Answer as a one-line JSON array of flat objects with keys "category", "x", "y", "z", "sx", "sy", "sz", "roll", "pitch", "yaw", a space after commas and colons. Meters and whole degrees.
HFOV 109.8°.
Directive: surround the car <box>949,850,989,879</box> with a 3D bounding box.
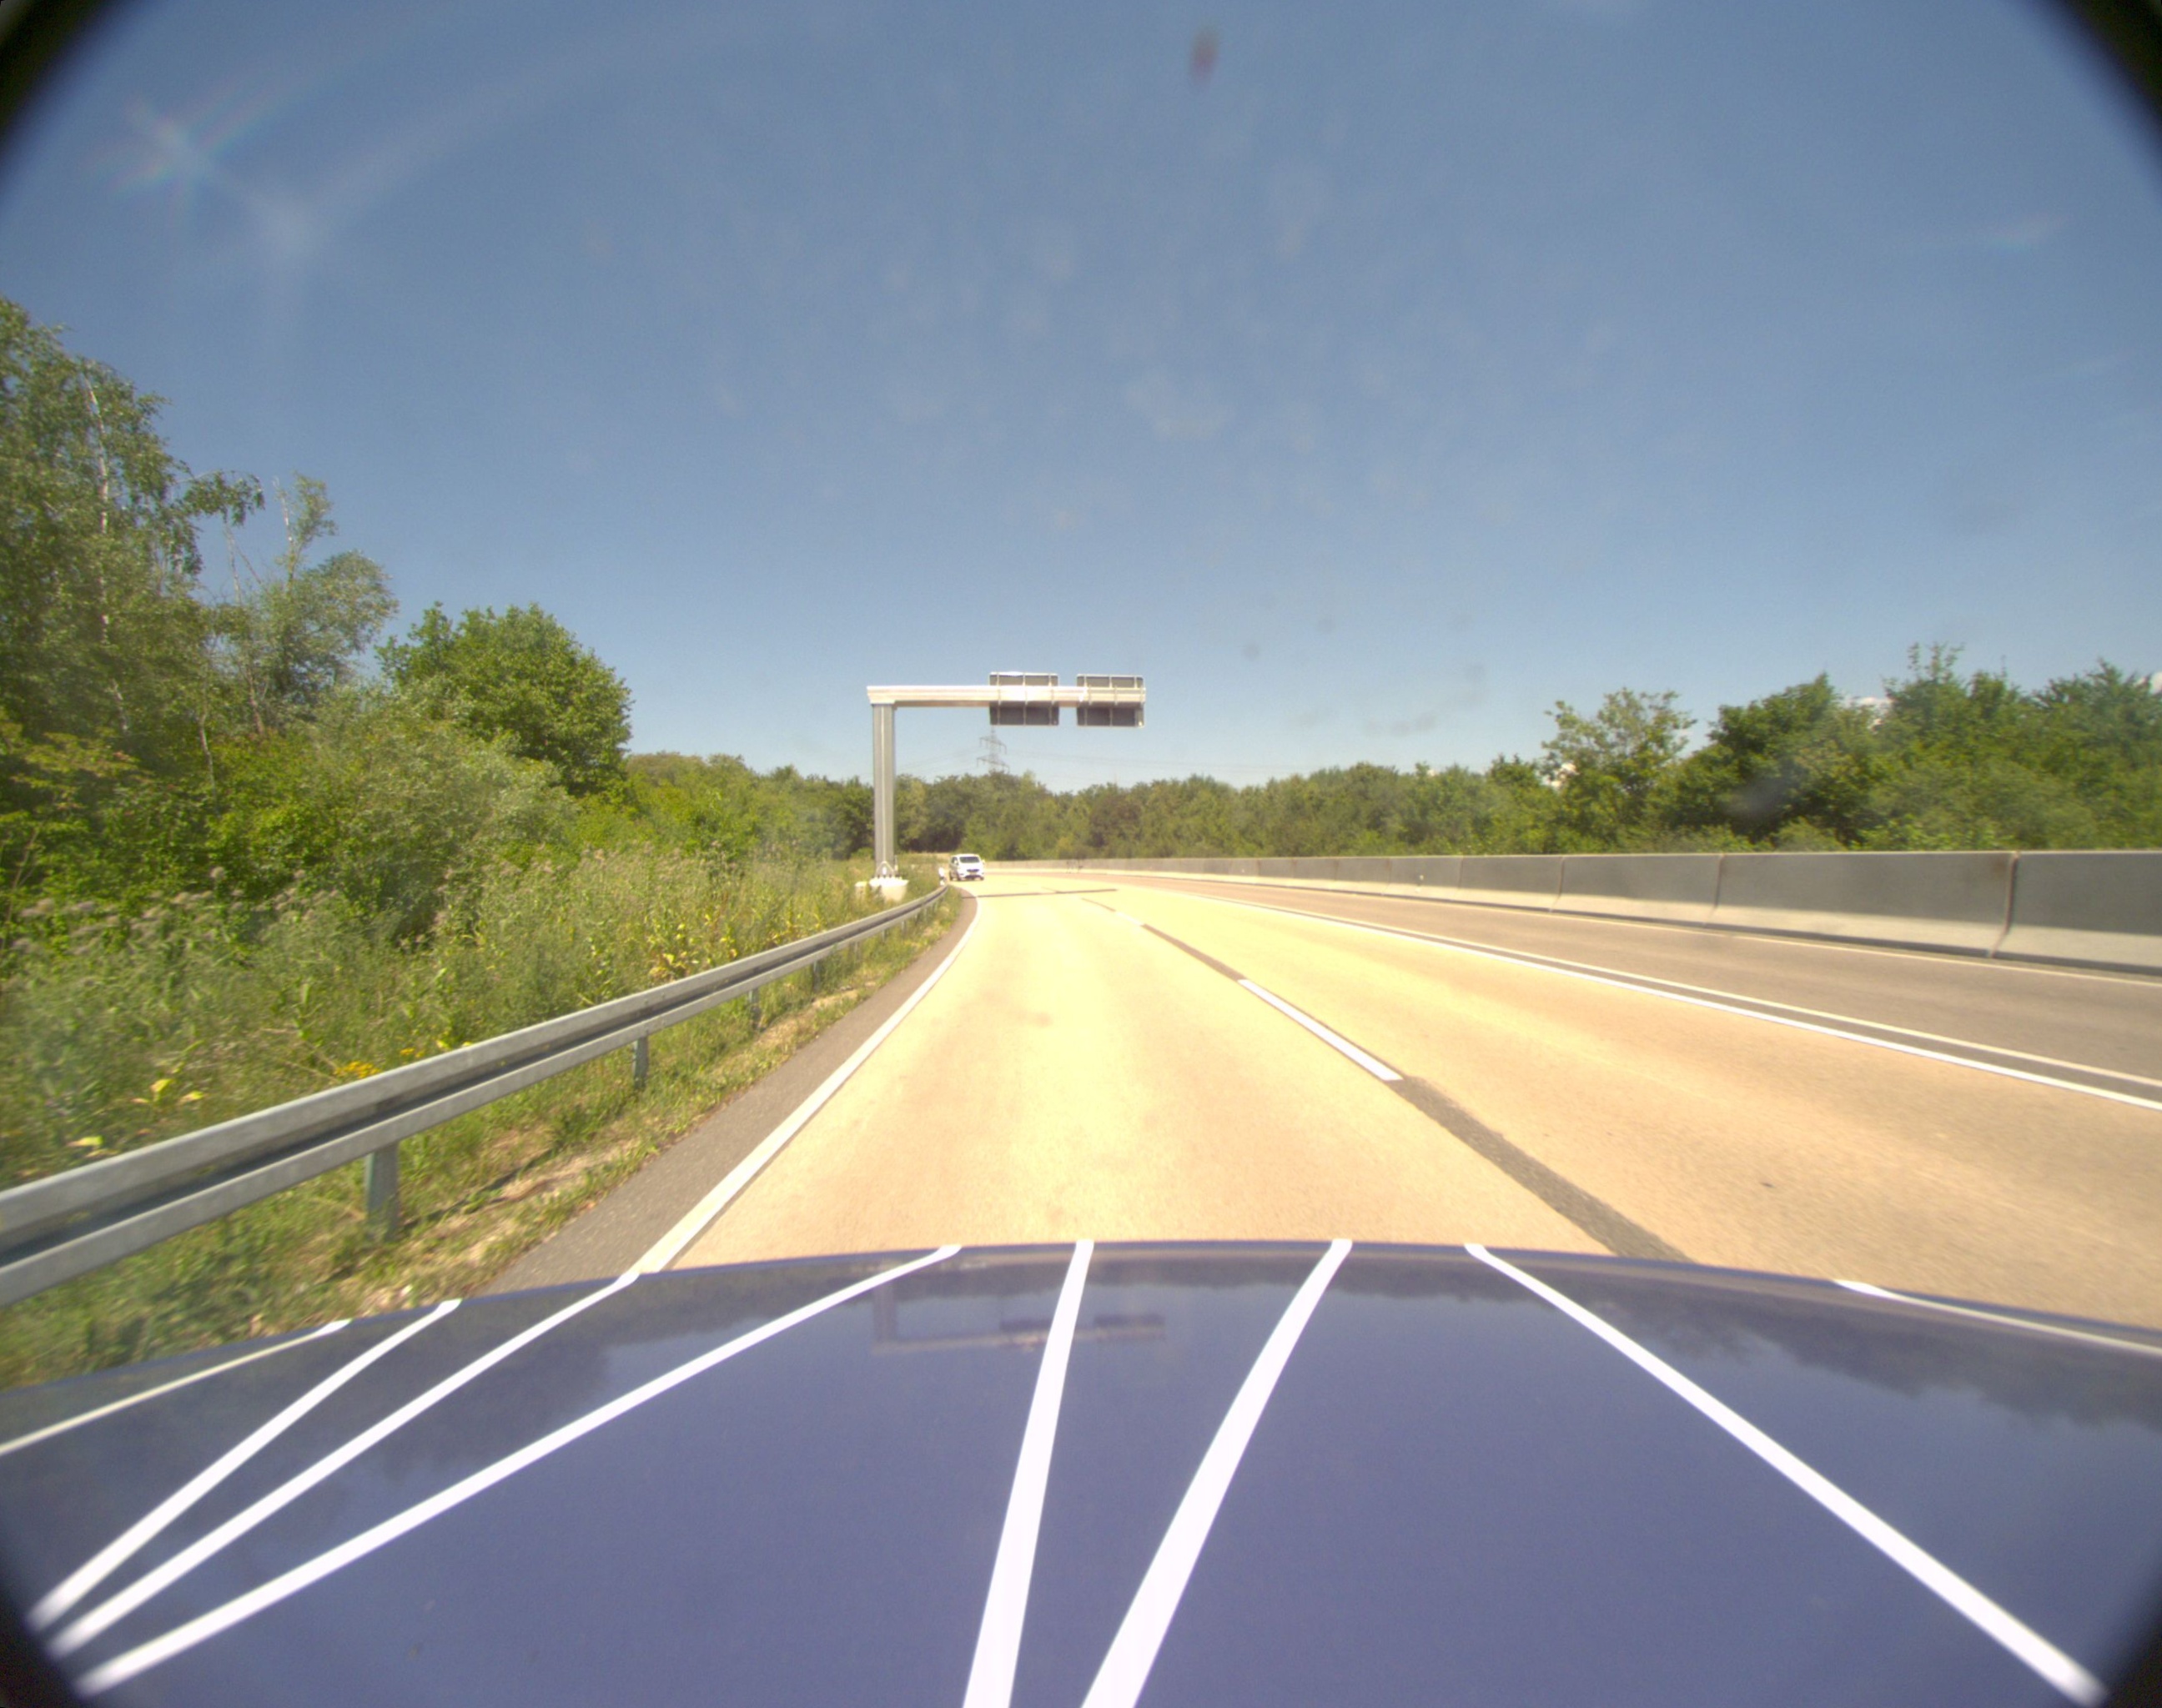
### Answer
[{"category": "car", "x": -8.673, "y": 0.819, "z": 58.445, "sx": 2.065, "sy": 2.002, "sz": 5.034, "roll": -3, "pitch": 0, "yaw": -18}]
